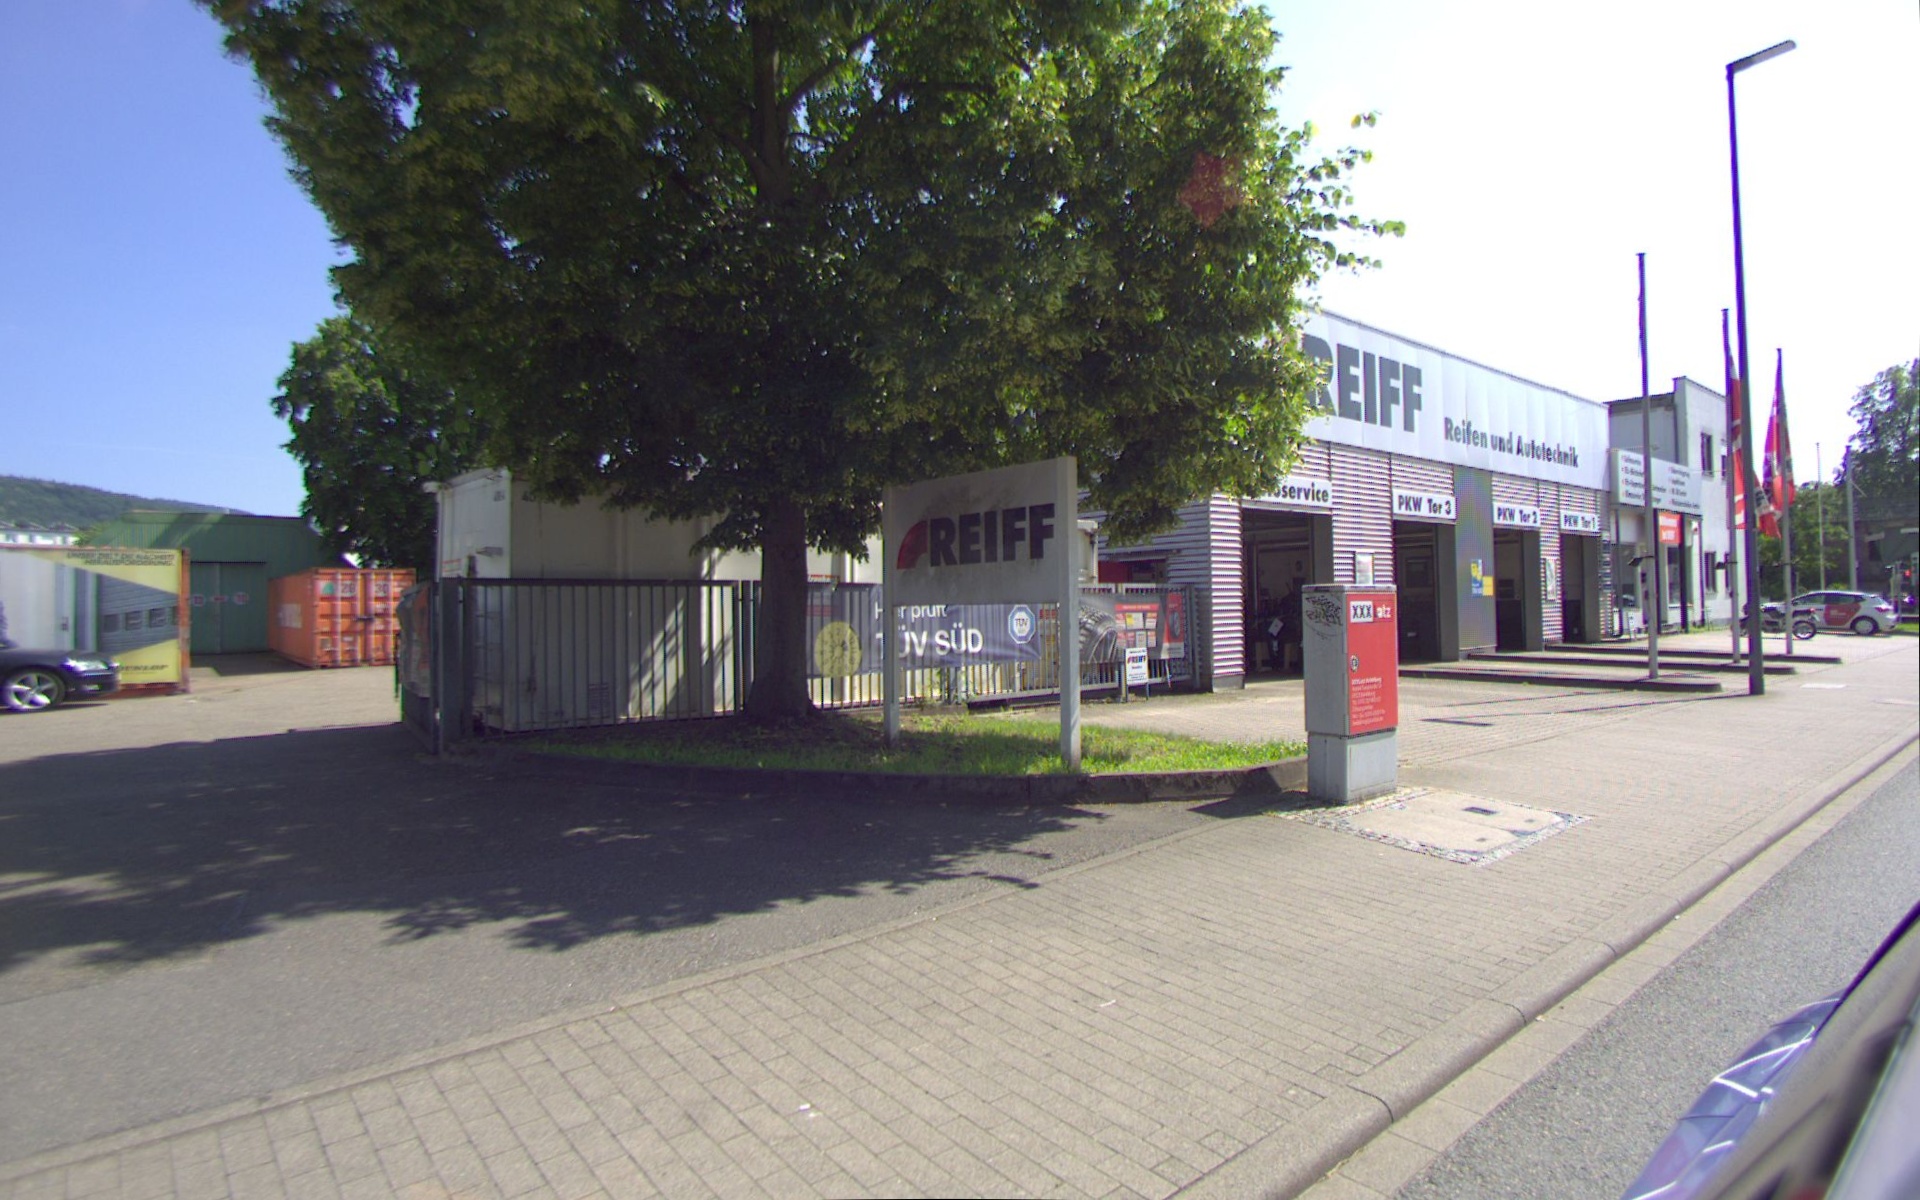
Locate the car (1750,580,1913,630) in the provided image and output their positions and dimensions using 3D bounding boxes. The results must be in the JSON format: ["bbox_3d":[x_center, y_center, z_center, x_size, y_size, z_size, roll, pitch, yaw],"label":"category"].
[{"bbox_3d":[29.842,0.131,34.725,1.857,1.480,3.994,-1,3,-42],"label":"car"}]

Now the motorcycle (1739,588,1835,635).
[{"bbox_3d":[25.576,0.340,31.315,0.718,1.324,2.187,-1,3,-41],"label":"motorcycle"}]

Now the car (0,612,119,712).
[{"bbox_3d":[-15.033,0.940,14.952,3.977,1.409,1.719,-2,1,-40],"label":"car"}]

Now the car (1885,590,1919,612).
[{"bbox_3d":[74.744,0.057,79.603,1.805,1.624,4.265,-3,-2,27],"label":"car"}]
